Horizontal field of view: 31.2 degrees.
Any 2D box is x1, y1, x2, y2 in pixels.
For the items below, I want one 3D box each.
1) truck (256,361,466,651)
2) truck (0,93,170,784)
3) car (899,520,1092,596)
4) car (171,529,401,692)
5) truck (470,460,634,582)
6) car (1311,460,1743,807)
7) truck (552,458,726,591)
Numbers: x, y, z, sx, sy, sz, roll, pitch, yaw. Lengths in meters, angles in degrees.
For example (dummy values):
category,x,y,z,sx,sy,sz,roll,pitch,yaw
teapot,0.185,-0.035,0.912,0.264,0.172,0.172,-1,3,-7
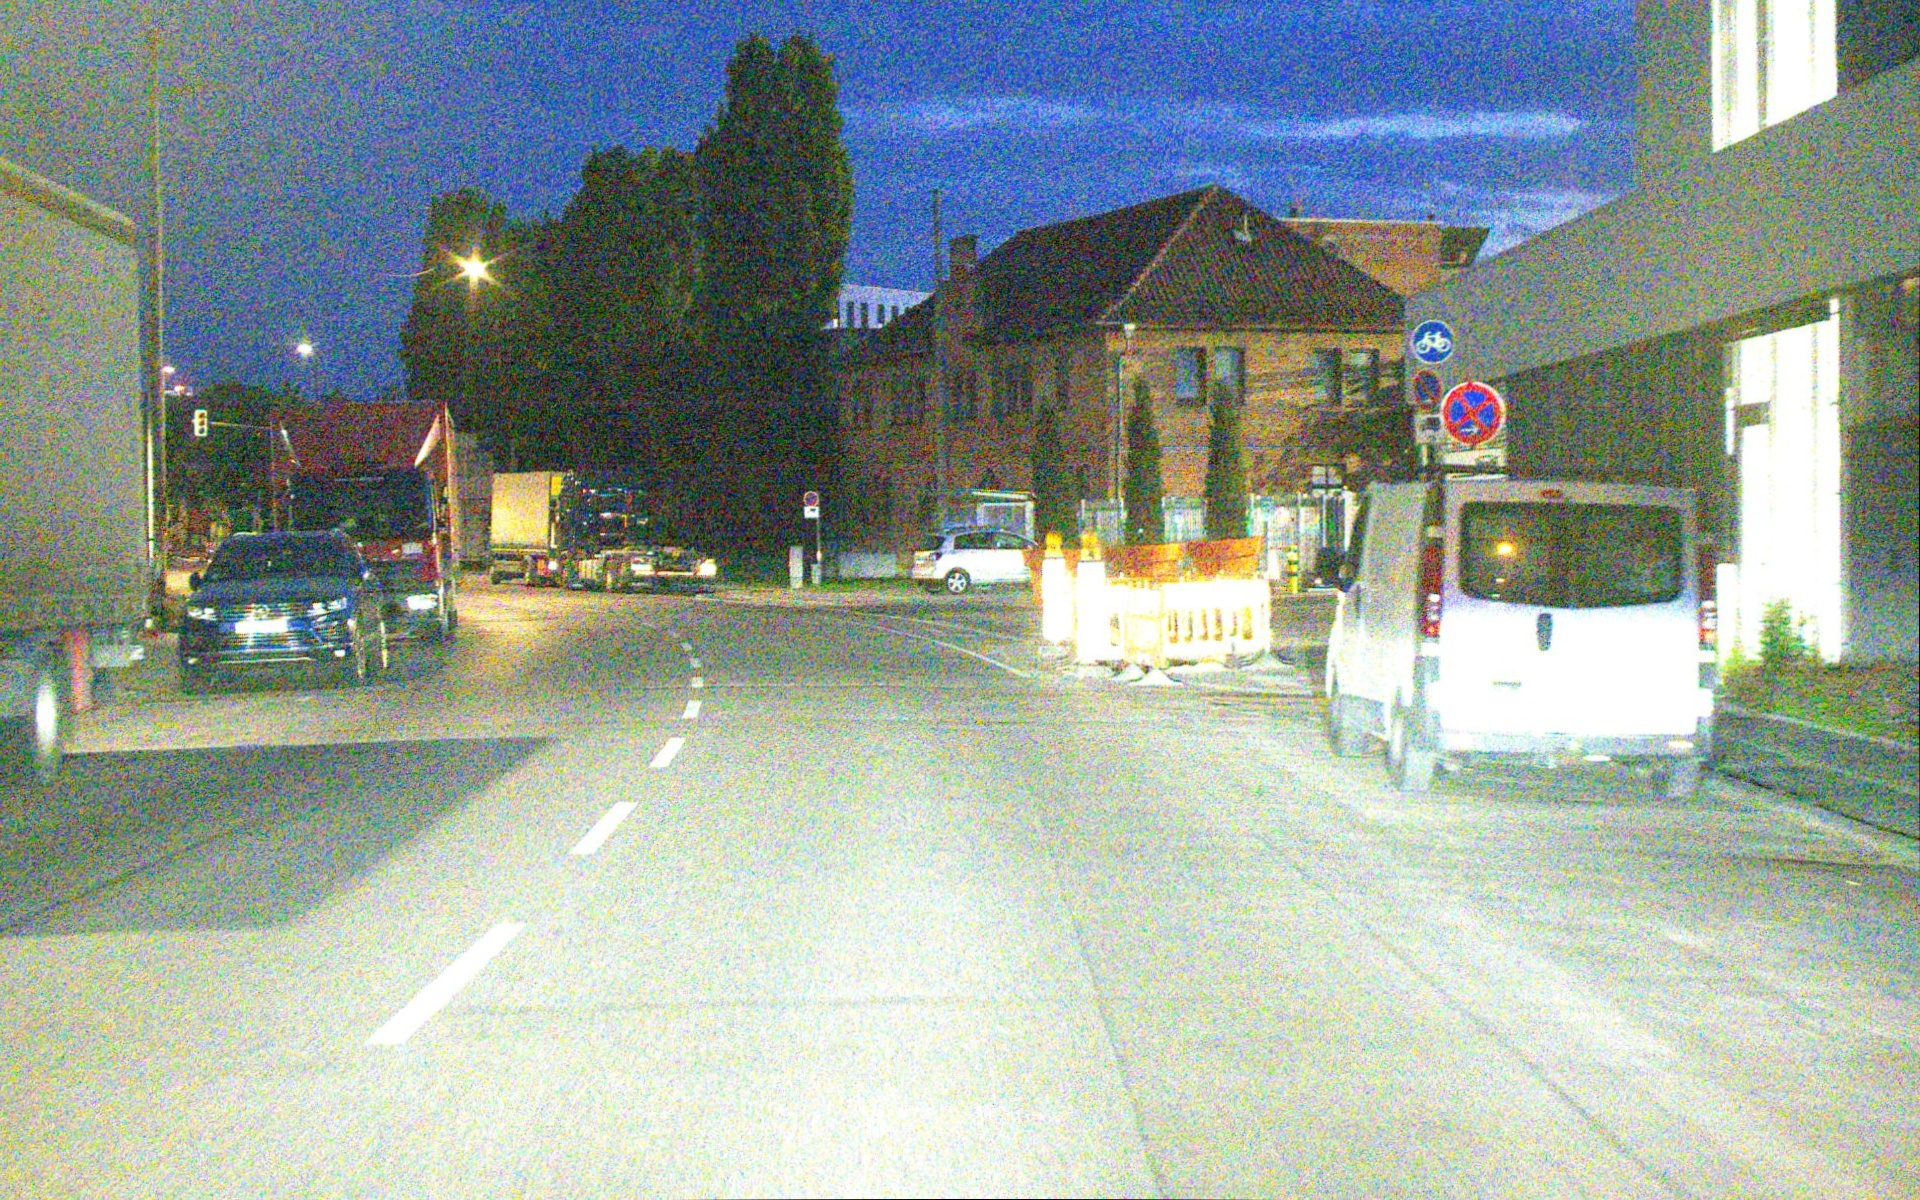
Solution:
category,x,y,z,sx,sy,sz,roll,pitch,yaw
truck,-9.175,-1.426,53.525,2.772,4.106,9.343,-1,1,-7
truck,-6.969,-0.947,20.280,2.746,4.020,9.561,0,1,-2
car,0.881,-1.057,85.064,4.325,1.640,1.893,-3,2,-22
car,-7.549,0.061,38.960,1.943,1.711,5.199,0,1,-4
truck,-13.334,-2.517,111.575,2.754,3.770,10.228,-1,1,-21
car,3.573,0.150,22.593,1.993,2.007,4.912,-1,1,0
truck,-9.611,-2.205,101.944,2.754,3.770,9.140,-1,1,-21
